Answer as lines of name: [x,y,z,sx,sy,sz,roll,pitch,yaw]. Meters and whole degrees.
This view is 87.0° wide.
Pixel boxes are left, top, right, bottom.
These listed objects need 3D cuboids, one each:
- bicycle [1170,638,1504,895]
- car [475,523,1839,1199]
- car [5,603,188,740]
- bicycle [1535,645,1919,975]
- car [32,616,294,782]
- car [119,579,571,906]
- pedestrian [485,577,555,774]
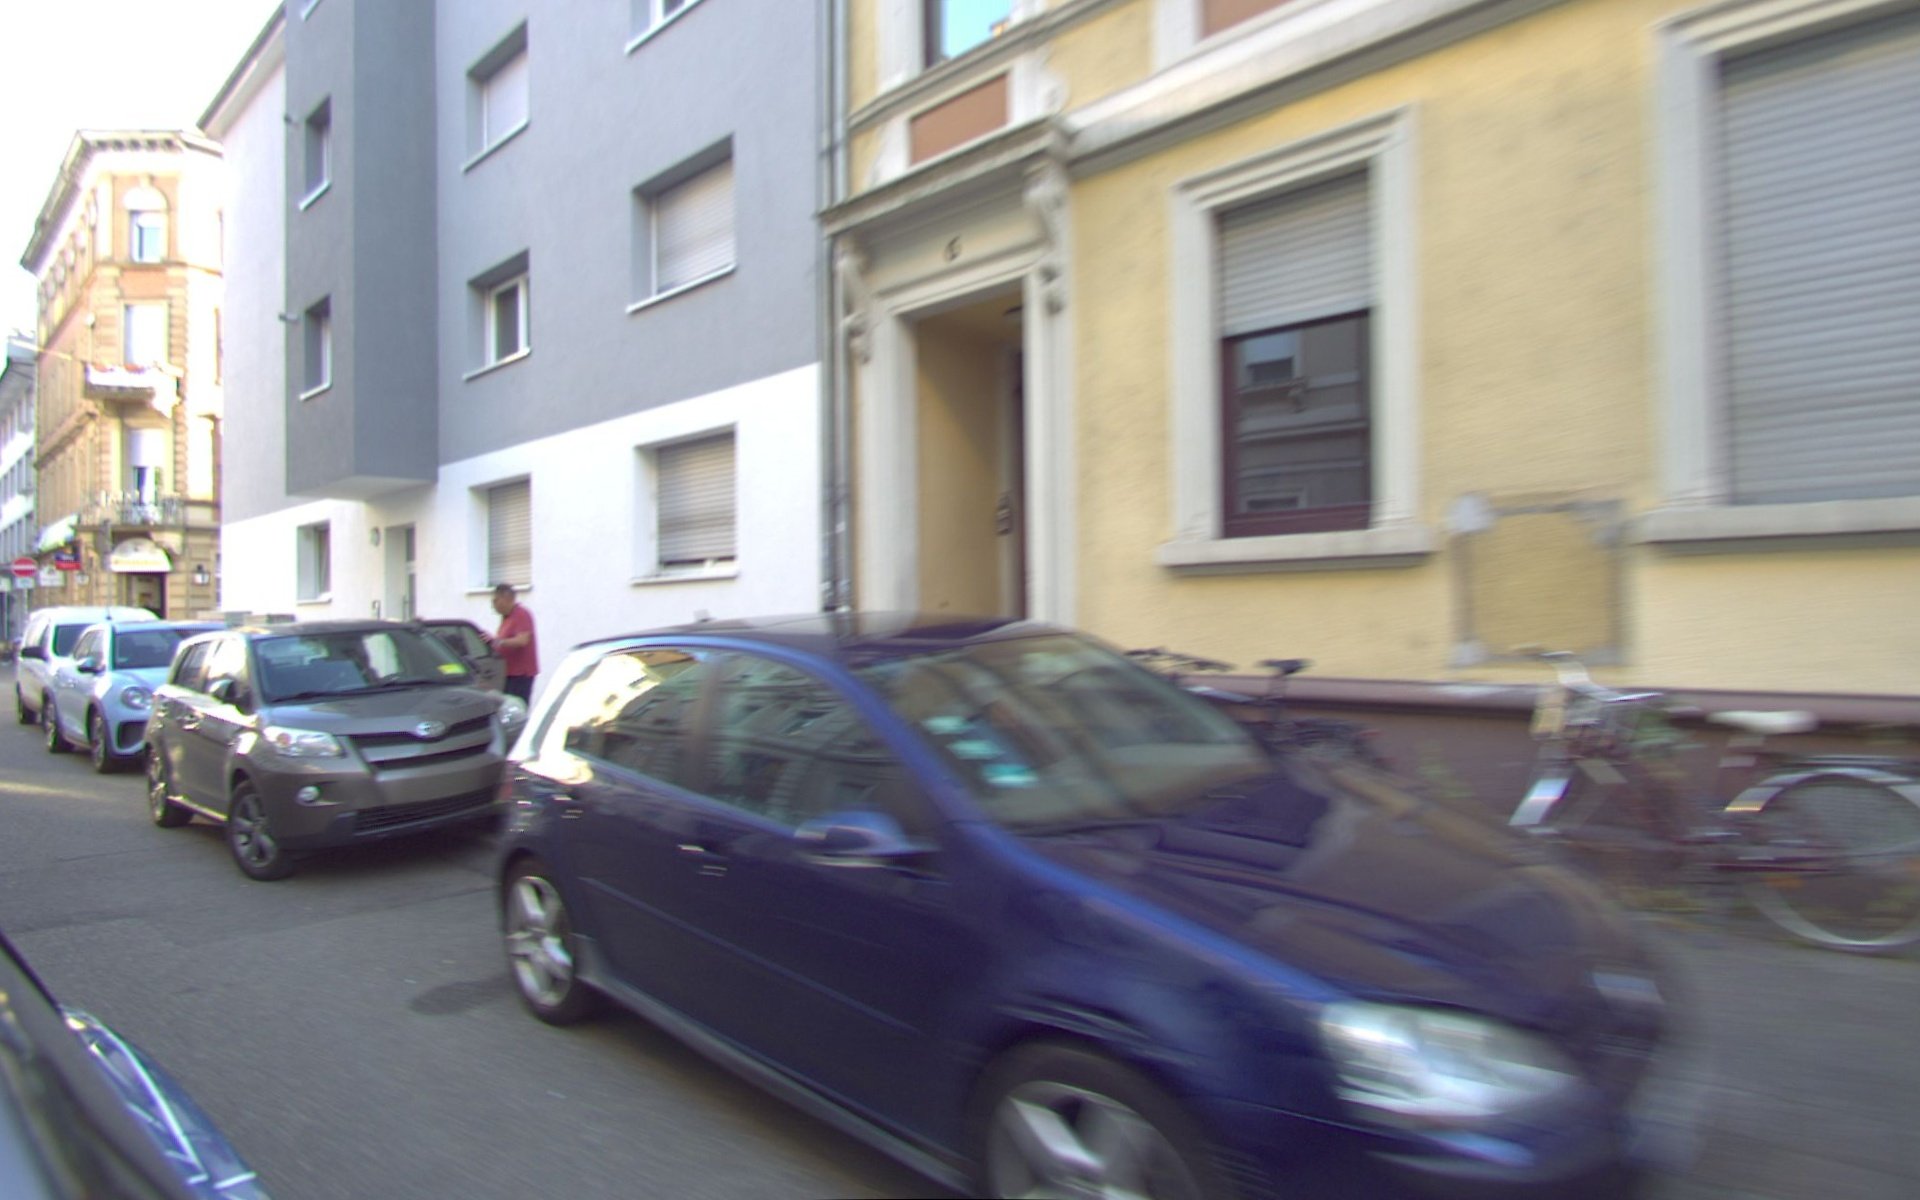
bicycle: [1.845,0.758,5.138,1.544,1.123,0.377,-2,-2,43]
car: [0.080,0.717,3.180,3.954,1.500,1.620,-2,-2,44]
car: [-13.065,1.000,15.247,3.782,1.810,1.620,-2,-2,42]
bicycle: [3.142,0.741,3.895,1.544,1.123,0.377,-2,-2,43]
car: [-9.226,1.018,11.621,3.780,1.592,1.621,-2,-2,40]
car: [-4.497,0.809,7.190,3.780,1.724,1.621,-2,-2,40]
pedestrian: [-4.102,0.688,9.431,0.455,1.769,0.450,-2,-2,40]
